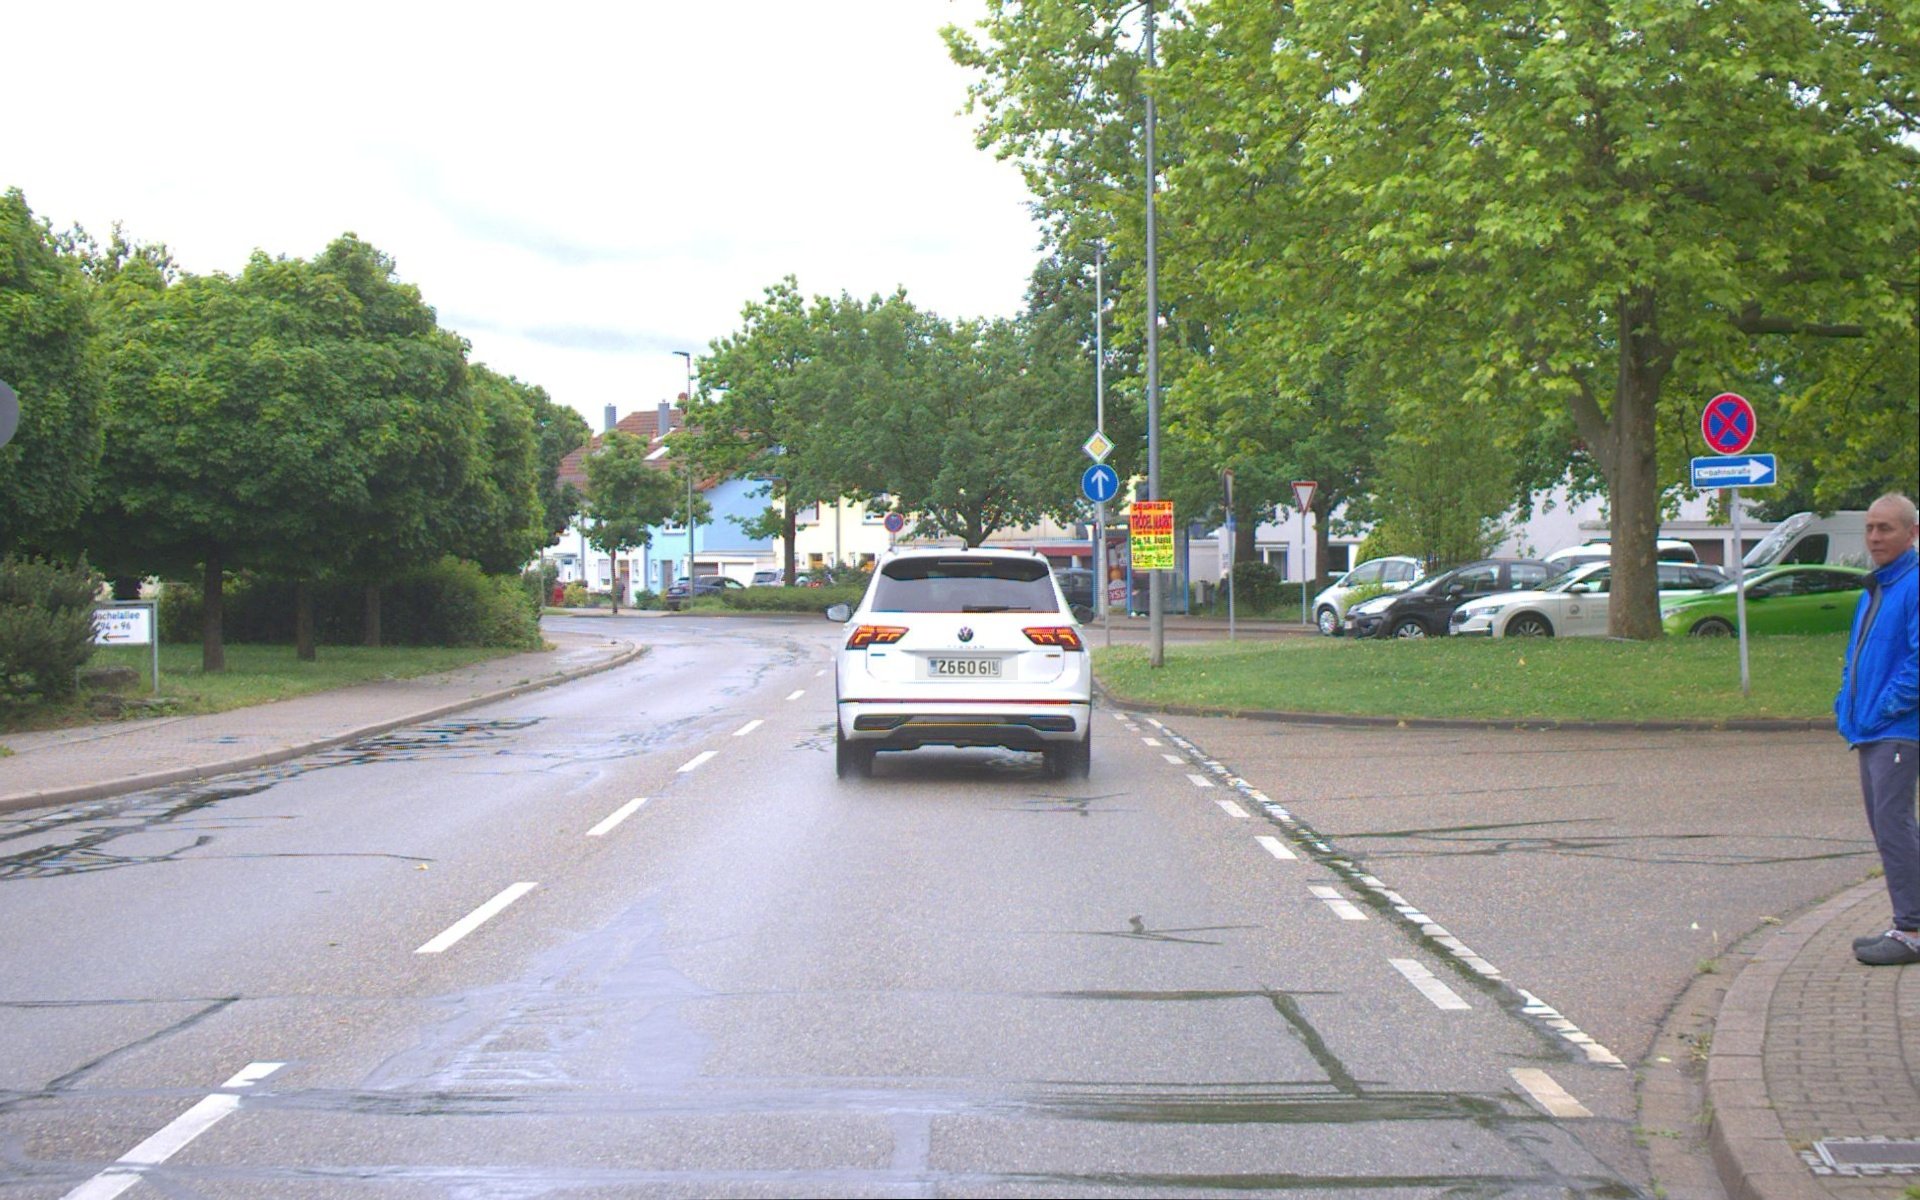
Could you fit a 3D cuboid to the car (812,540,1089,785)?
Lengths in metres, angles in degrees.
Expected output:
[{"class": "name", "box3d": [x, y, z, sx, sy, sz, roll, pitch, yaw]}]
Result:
[{"class": "car", "box3d": [-0.057, 0.406, 25.621, 1.865, 1.645, 4.000, -1, 1, 0]}]

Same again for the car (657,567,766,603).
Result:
[{"class": "car", "box3d": [-9.611, -0.578, 133.132, 3.988, 1.382, 1.674, 0, 1, -38]}]

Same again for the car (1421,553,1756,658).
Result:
[{"class": "car", "box3d": [9.321, 0.066, 51.168, 4.572, 1.438, 1.765, -1, 1, -5]}]

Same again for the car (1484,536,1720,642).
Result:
[{"class": "car", "box3d": [11.787, -0.217, 63.377, 1.993, 1.875, 4.213, -1, 1, -30]}]

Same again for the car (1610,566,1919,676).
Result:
[{"class": "car", "box3d": [11.383, 0.278, 48.438, 4.009, 1.438, 1.765, -1, 1, -5]}]

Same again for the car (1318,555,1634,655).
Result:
[{"class": "car", "box3d": [8.028, 0.064, 53.711, 4.572, 1.438, 1.765, -1, 1, -5]}]

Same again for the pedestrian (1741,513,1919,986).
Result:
[{"class": "pedestrian", "box3d": [3.299, 0.521, 12.509, 0.589, 1.660, 0.776, 0, 0, -16]}]

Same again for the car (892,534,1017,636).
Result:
[{"class": "car", "box3d": [-0.127, -0.244, 54.826, 1.769, 1.546, 4.000, -1, 1, -3]}]

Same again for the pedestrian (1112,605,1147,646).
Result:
[{"class": "pedestrian", "box3d": [4.215, 0.624, 85.518, 0.748, 1.008, 0.551, -1, 0, -8]}]

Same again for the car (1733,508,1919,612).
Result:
[{"class": "car", "box3d": [18.886, -0.841, 69.956, 5.819, 2.007, 2.001, -1, 1, -10]}]

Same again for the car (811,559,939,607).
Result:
[{"class": "car", "box3d": [-3.069, -0.634, 124.192, 4.180, 1.666, 1.991, -1, 1, -34]}]

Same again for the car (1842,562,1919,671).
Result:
[{"class": "car", "box3d": [13.845, 0.169, 45.138, 4.009, 1.366, 1.765, -1, 1, -5]}]

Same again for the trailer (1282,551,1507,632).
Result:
[{"class": "trailer", "box3d": [8.607, -0.174, 68.443, 1.994, 1.537, 4.425, -1, 1, -34]}]
